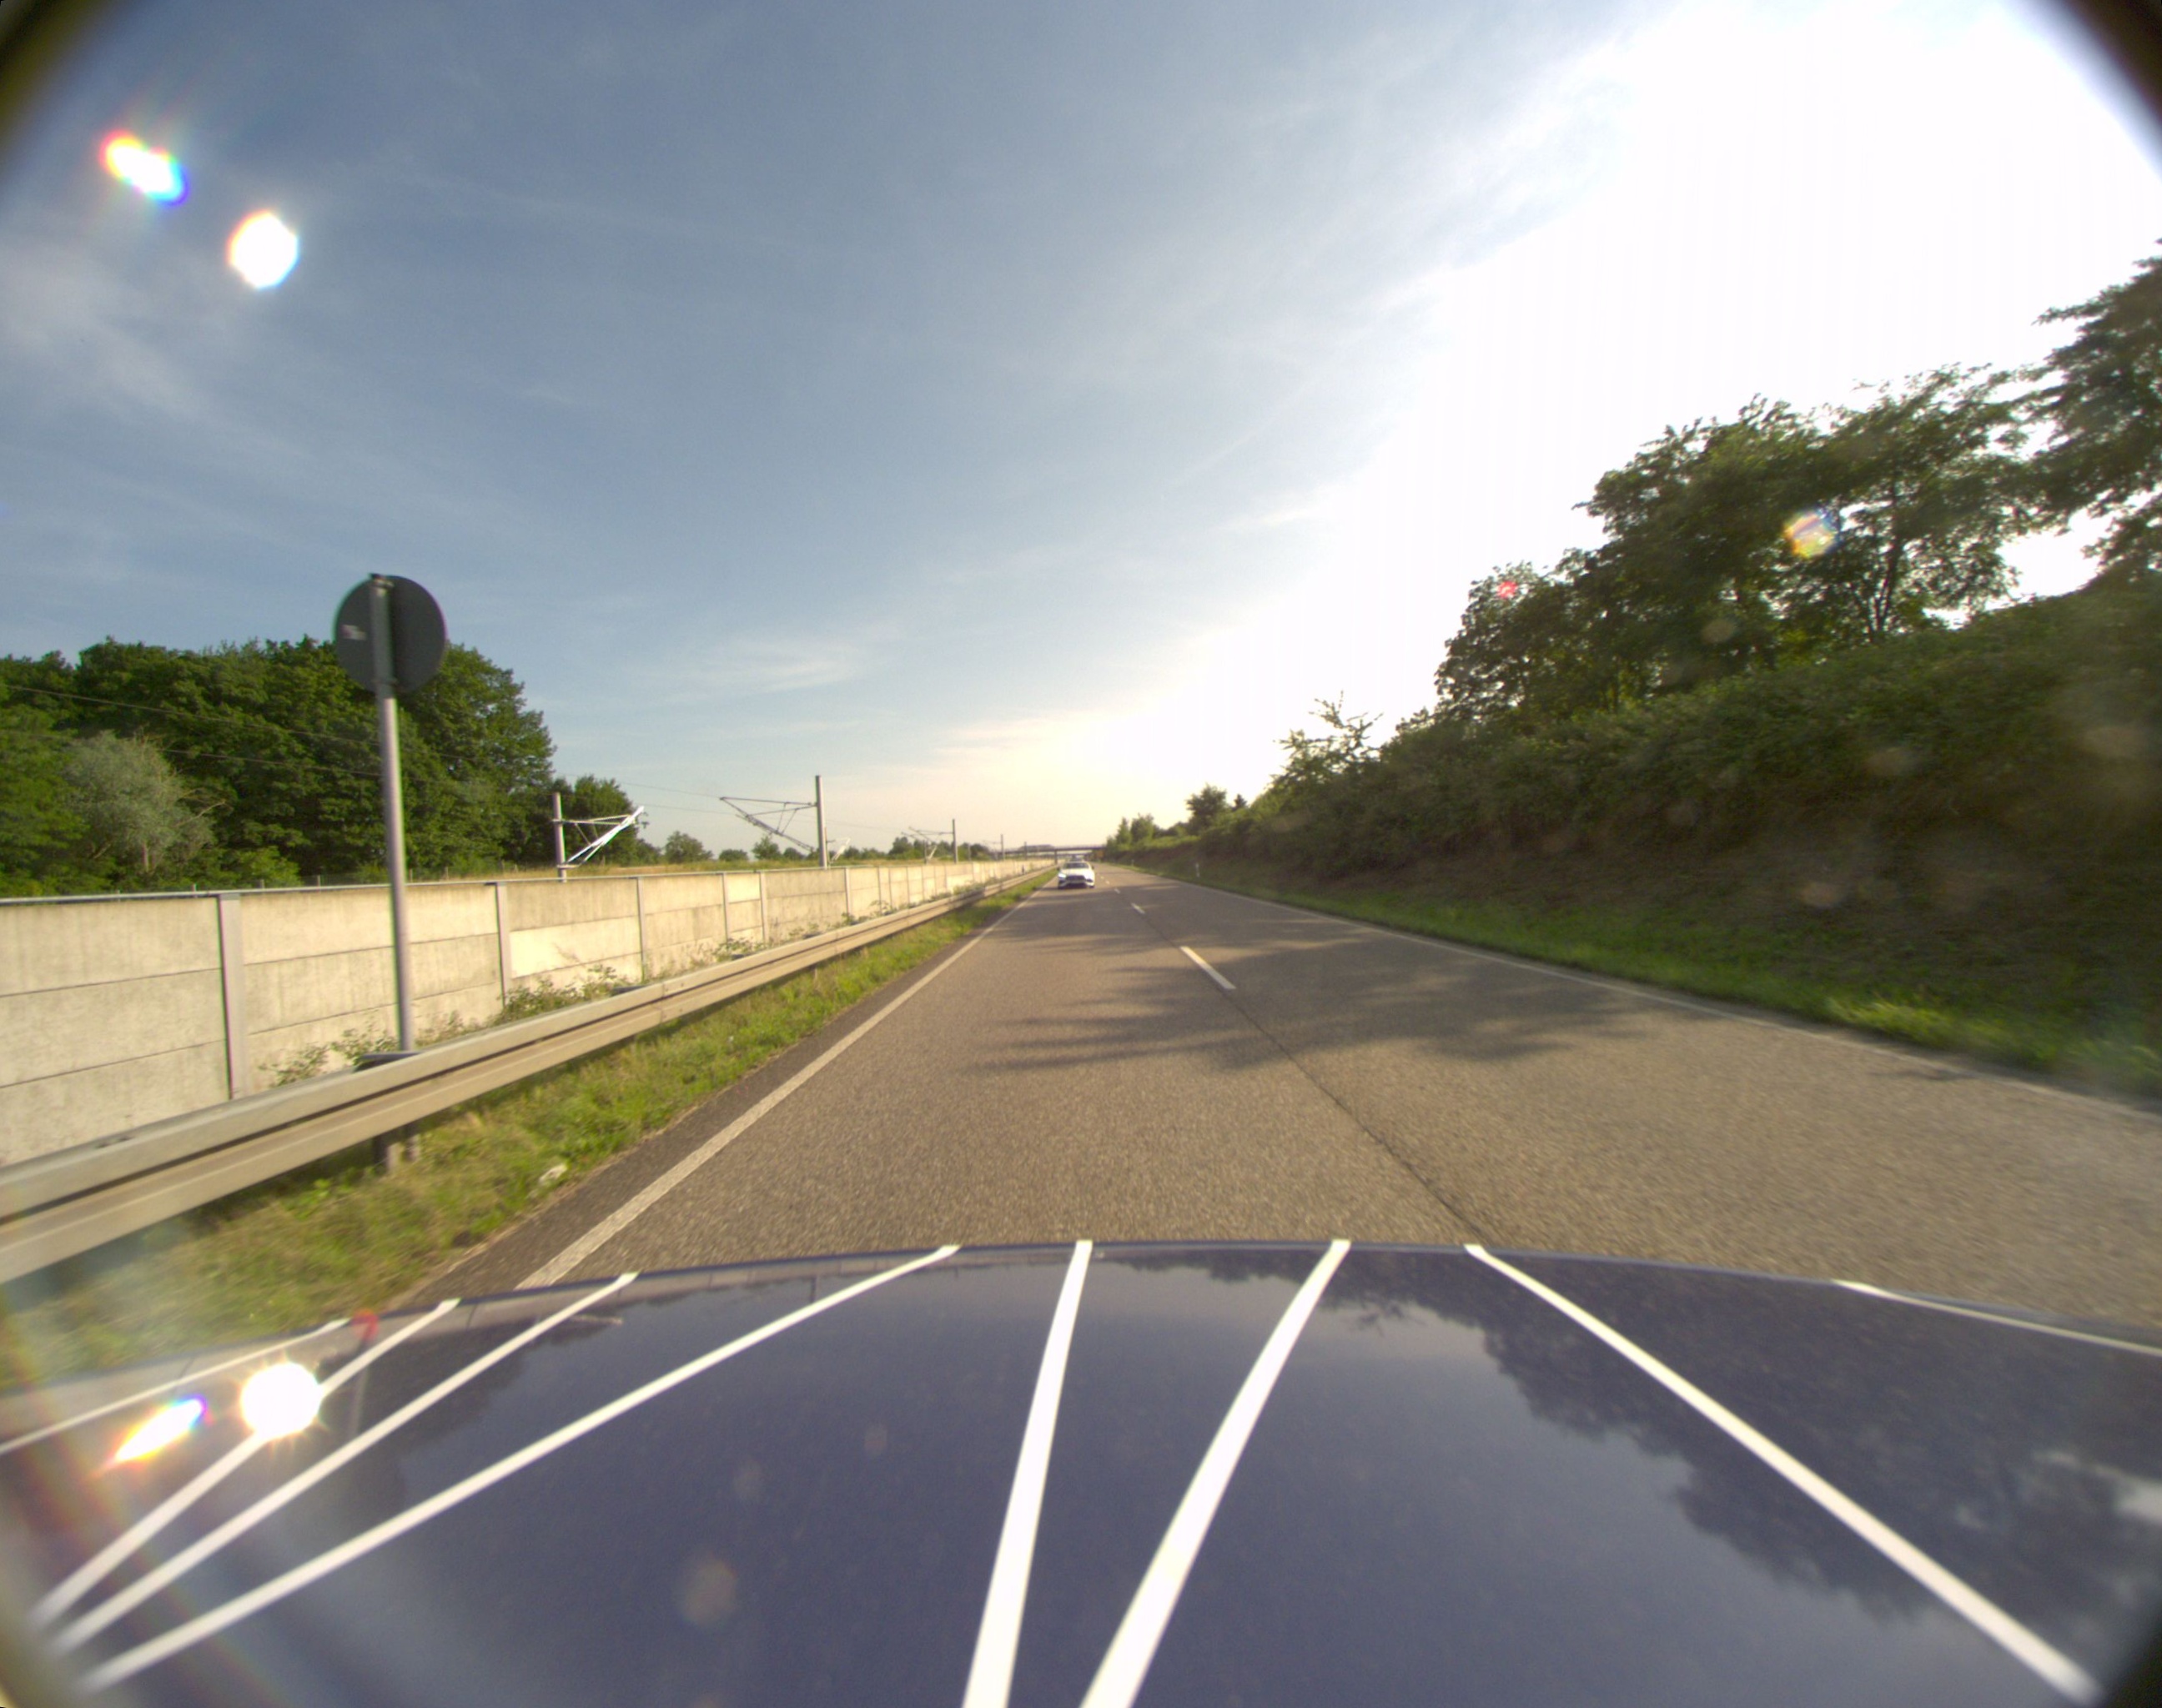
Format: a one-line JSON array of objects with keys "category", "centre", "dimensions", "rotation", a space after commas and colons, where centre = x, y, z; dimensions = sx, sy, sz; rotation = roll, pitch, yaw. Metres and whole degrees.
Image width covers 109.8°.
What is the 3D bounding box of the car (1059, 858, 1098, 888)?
[{"category": "car", "centre": [-0.118, 0.961, 40.452], "dimensions": [1.953, 1.430, 4.612], "rotation": [-2, 0, 0]}]
